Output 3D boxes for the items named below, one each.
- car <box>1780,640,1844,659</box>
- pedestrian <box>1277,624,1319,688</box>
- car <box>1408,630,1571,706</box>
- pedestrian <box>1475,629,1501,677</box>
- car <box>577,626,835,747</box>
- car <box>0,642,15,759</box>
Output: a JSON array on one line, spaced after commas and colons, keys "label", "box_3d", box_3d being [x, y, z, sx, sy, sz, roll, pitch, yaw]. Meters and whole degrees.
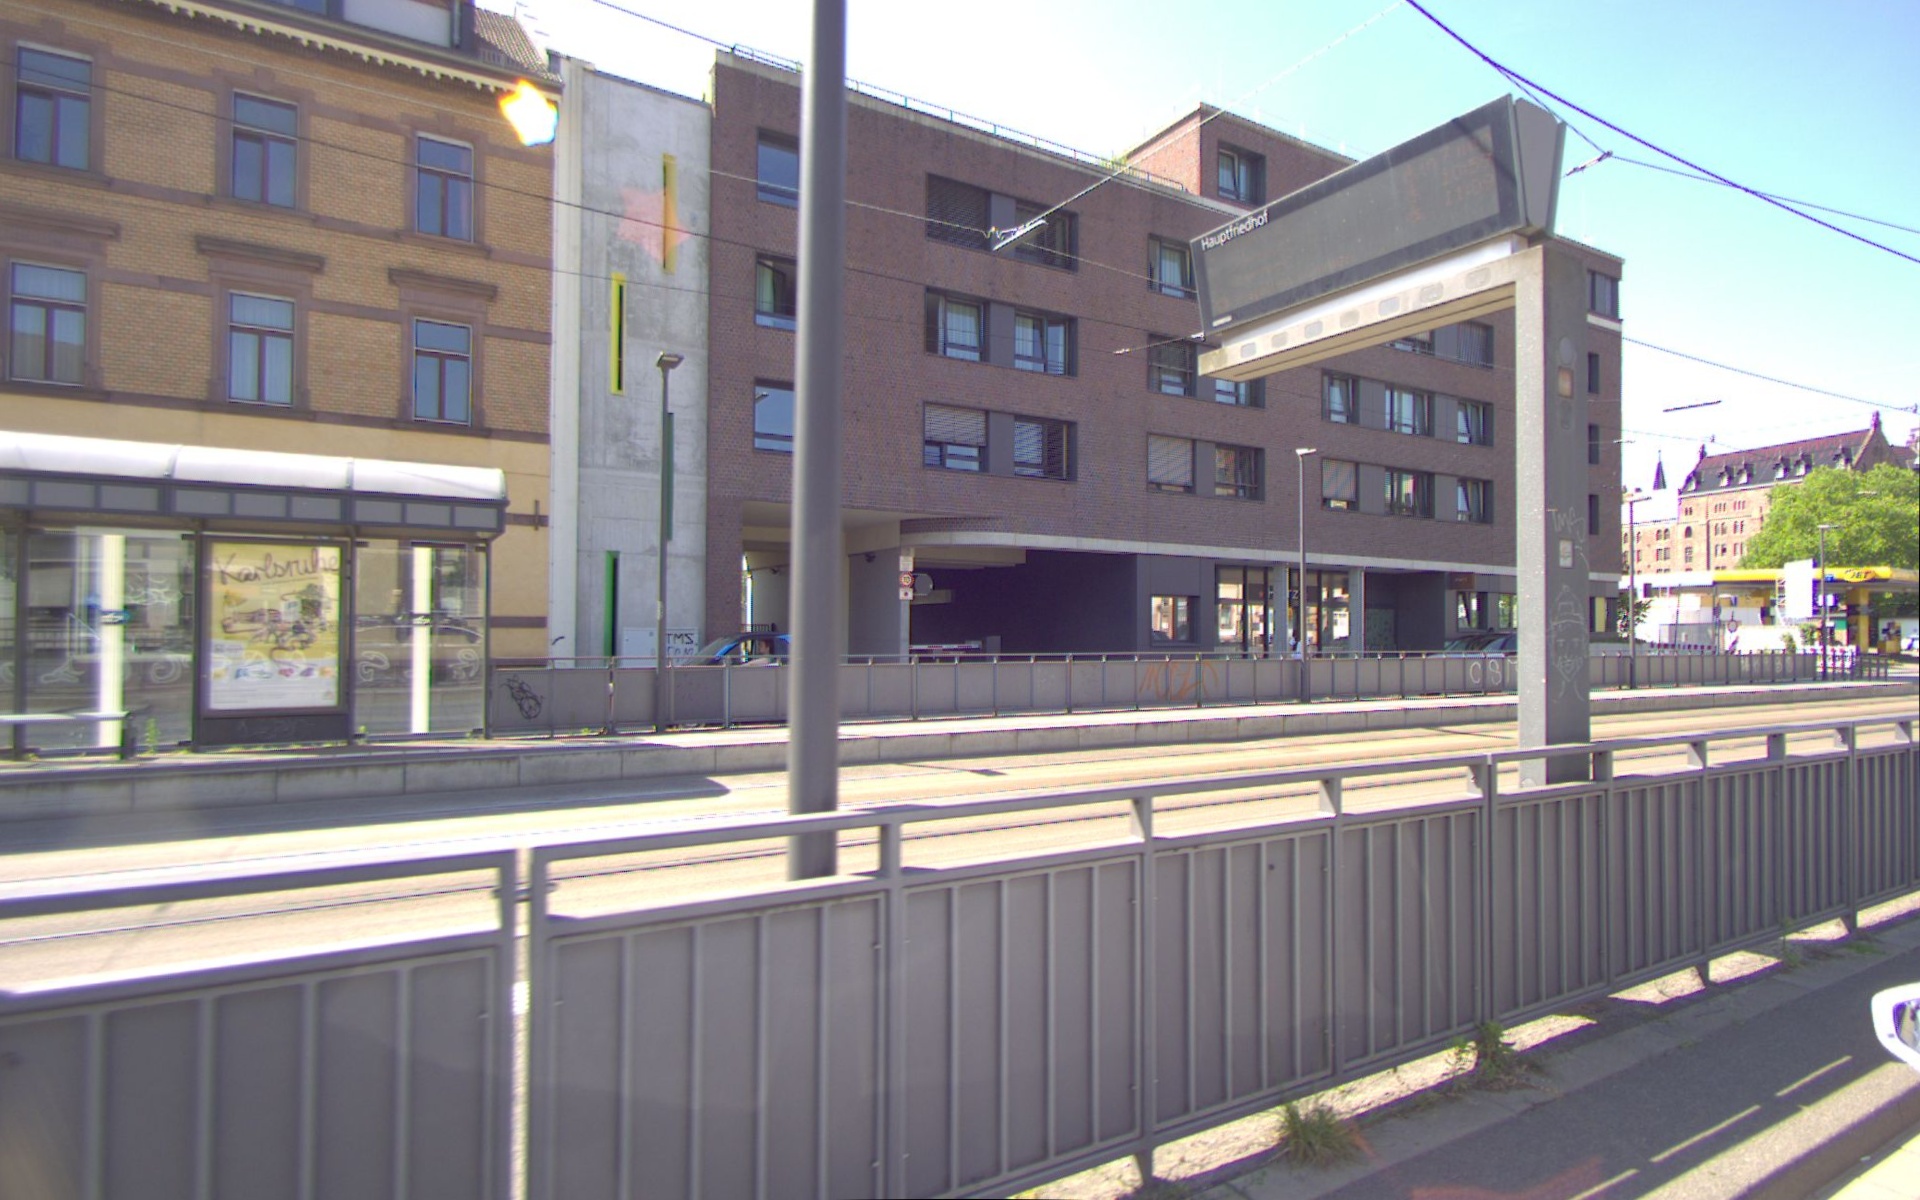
[{"label": "car", "box_3d": [77.114, 4.447, 90.945, 1.903, 1.547, 4.162, 2, -2, -12]}, {"label": "pedestrian", "box_3d": [9.927, 1.638, 29.517, 0.829, 1.843, 0.840, 1, -1, -30]}, {"label": "car", "box_3d": [13.602, 1.693, 25.758, 4.140, 1.752, 1.792, 1, 0, -30]}, {"label": "pedestrian", "box_3d": [18.743, 1.878, 35.658, 0.692, 1.686, 0.578, 1, -2, -32]}, {"label": "car", "box_3d": [-3.914, 1.263, 15.570, 3.537, 1.644, 1.704, 1, -1, -30]}, {"label": "car", "box_3d": [-13.054, 1.123, 10.388, 4.470, 1.381, 1.623, 2, -2, -31]}]
